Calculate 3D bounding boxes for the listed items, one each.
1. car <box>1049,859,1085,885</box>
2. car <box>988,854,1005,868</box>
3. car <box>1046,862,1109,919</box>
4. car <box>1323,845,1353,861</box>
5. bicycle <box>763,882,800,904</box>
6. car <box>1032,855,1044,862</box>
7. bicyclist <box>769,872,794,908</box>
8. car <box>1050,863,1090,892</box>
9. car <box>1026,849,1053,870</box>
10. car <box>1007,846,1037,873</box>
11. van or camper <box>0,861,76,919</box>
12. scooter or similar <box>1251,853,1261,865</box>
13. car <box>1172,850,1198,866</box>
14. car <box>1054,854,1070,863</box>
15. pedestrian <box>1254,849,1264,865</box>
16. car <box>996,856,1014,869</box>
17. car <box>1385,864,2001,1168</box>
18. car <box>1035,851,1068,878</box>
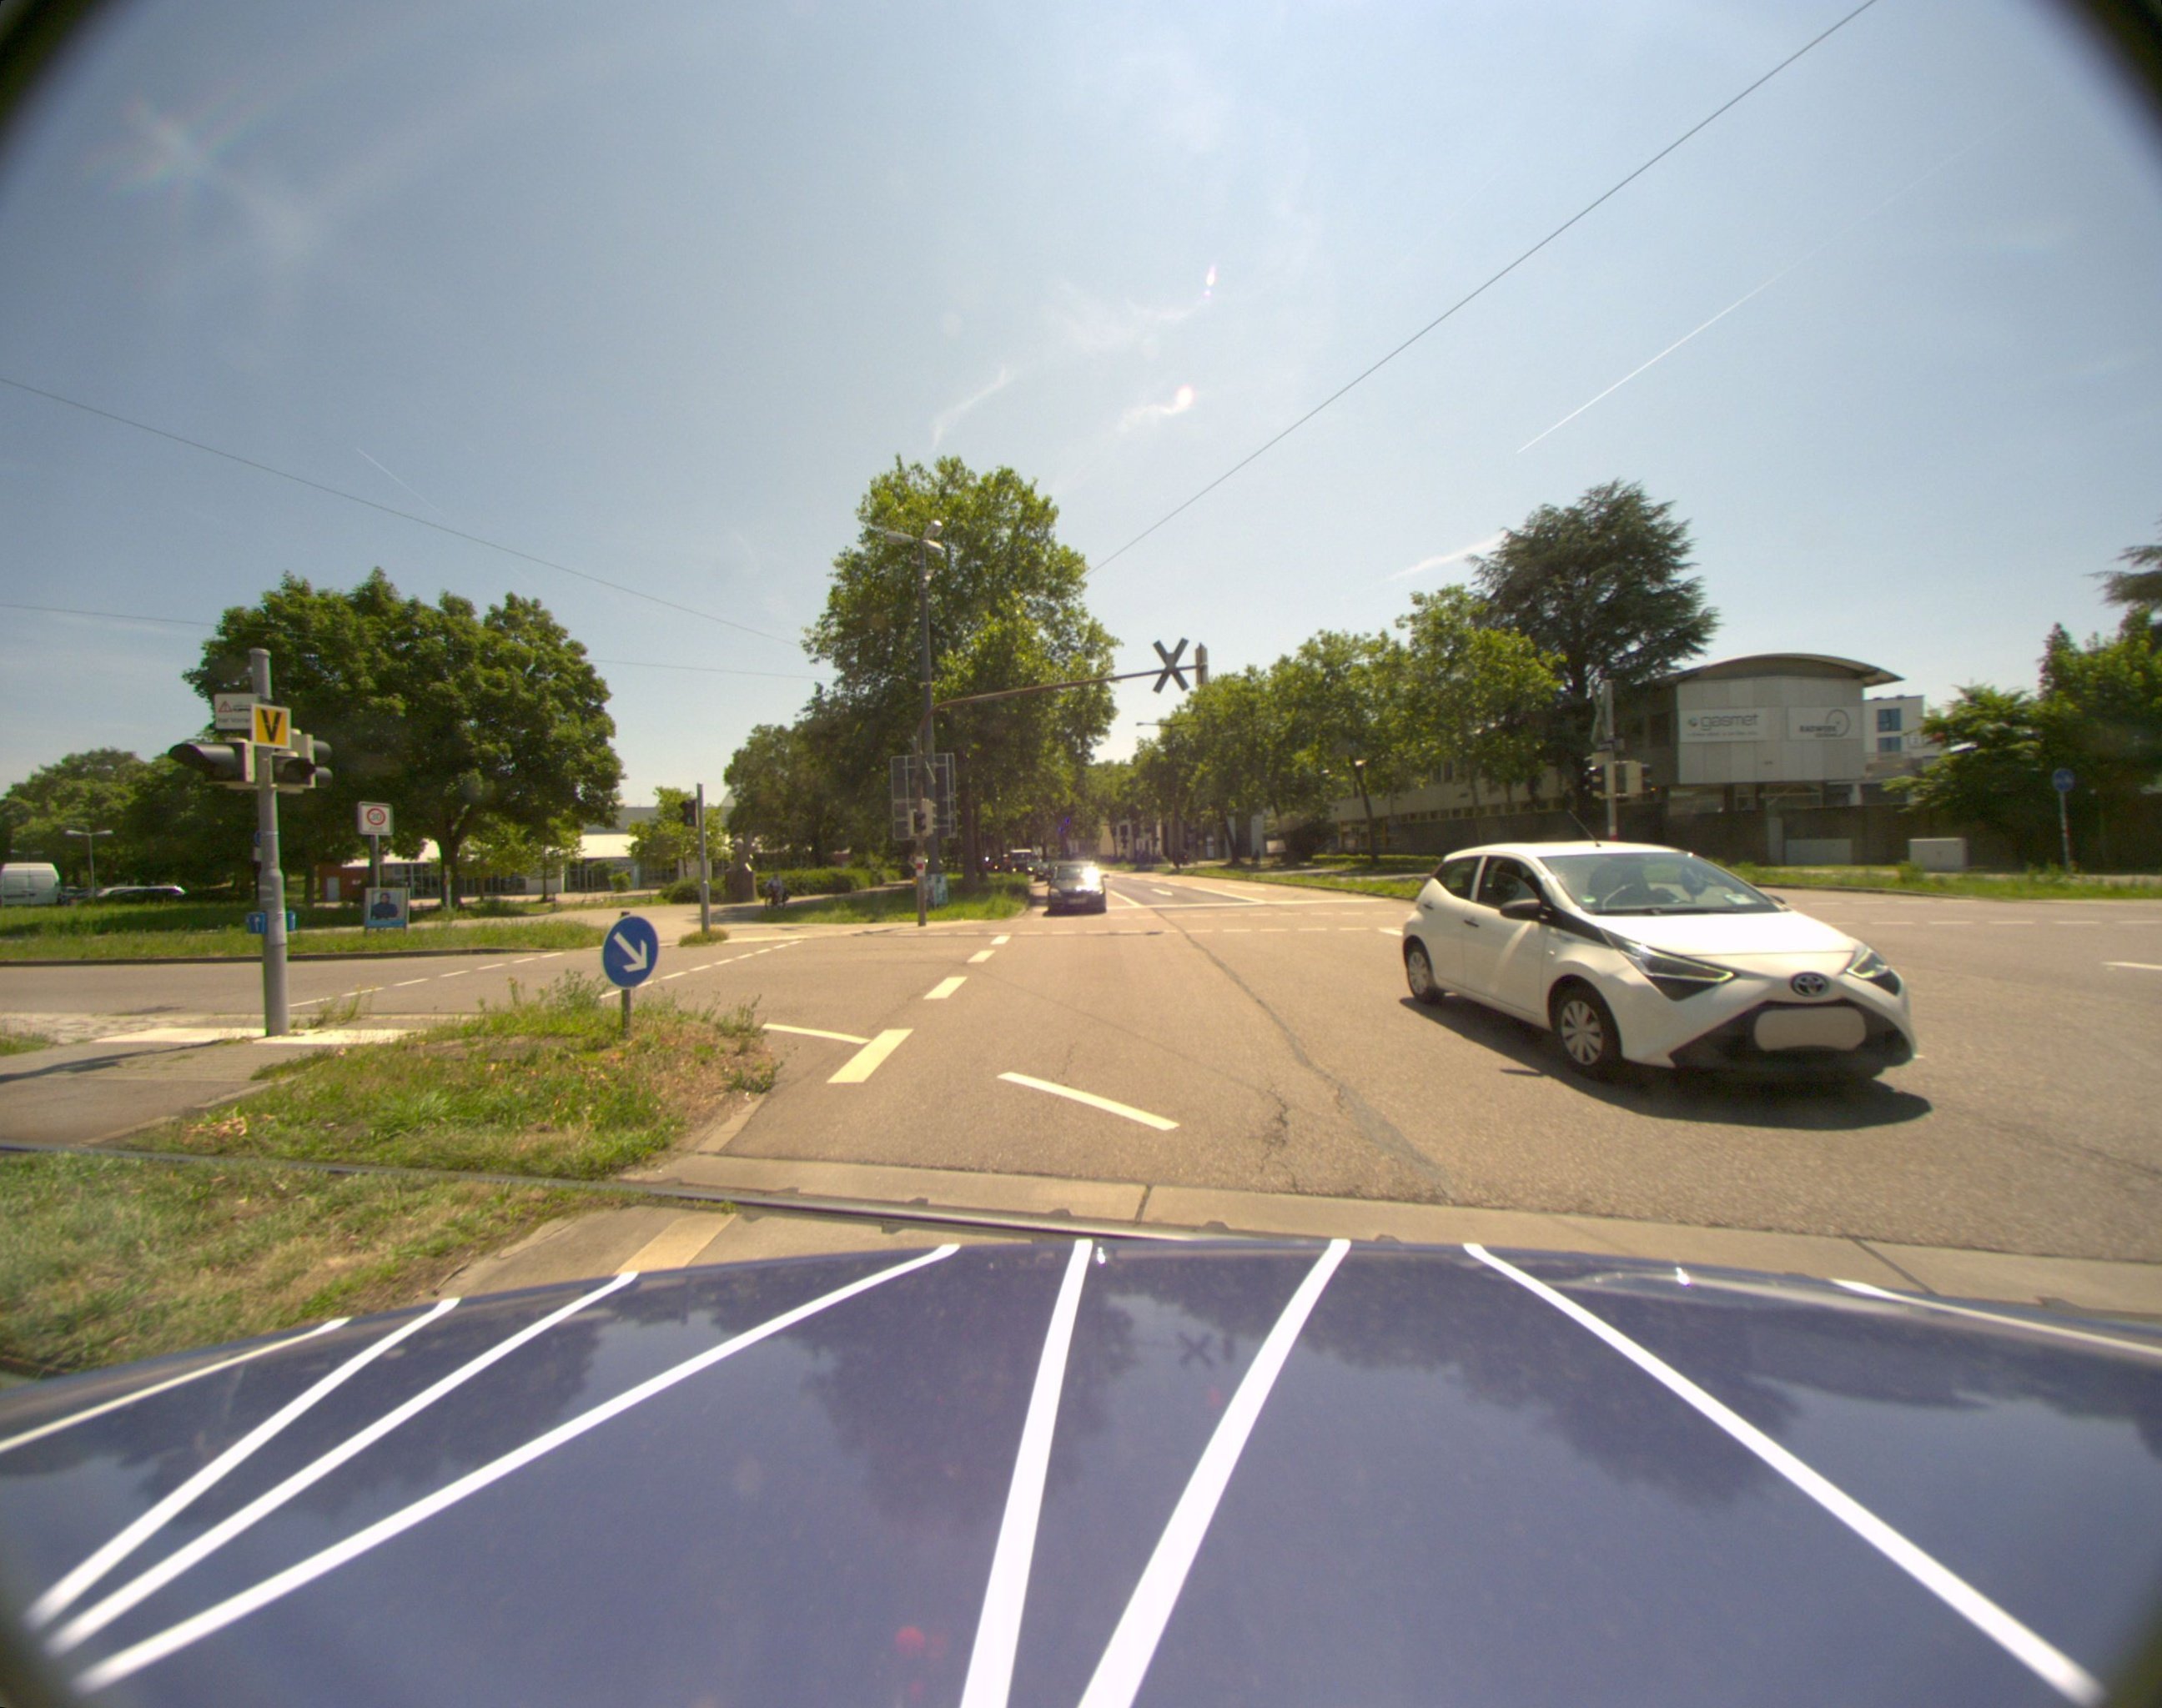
[{"bbox_3d":[-0.892,1.057,46.745,1.879,1.448,3.784,-2,0,-5],"label":"car"},{"bbox_3d":[-12.227,1.002,109.799,2.001,1.827,3.995,-2,0,-13],"label":"car"},{"bbox_3d":[-0.104,1.011,22.525,1.654,1.453,3.864,-2,0,0],"label":"car"},{"bbox_3d":[27.952,-0.092,82.742,1.820,1.638,3.526,-4,1,-2],"label":"car"},{"bbox_3d":[-11.547,1.504,29.339,0.464,0.760,1.669,-2,0,11],"label":"bicycle"},{"bbox_3d":[-8.779,0.890,153.444,1.738,1.450,3.669,-2,0,-13],"label":"car"},{"bbox_3d":[-11.562,1.386,29.314,0.600,1.331,0.666,-2,1,10],"label":"bicyclist"},{"bbox_3d":[-0.511,1.151,38.536,1.791,1.325,3.743,-2,0,2],"label":"car"},{"bbox_3d":[-3.630,0.454,66.475,2.000,1.783,3.997,-2,1,-7],"label":"car"},{"bbox_3d":[-6.455,0.561,82.042,2.919,2.639,6.362,-2,0,-7],"label":"car"},{"bbox_3d":[-53.195,1.788,38.673,5.115,2.735,2.207,-2,1,35],"label":"van or camper"},{"bbox_3d":[17.283,0.492,75.176,0.680,1.157,0.858,-2,1,-11],"label":"scooter or similar"},{"bbox_3d":[12.069,0.417,87.785,1.913,1.669,4.450,-2,0,22],"label":"car"},{"bbox_3d":[-3.404,0.826,135.559,1.860,1.410,4.542,-2,0,-13],"label":"car"},{"bbox_3d":[17.450,0.287,74.353,0.644,1.551,0.790,-2,1,-12],"label":"pedestrian"},{"bbox_3d":[-9.873,1.097,98.795,2.000,1.608,3.997,-2,0,-9],"label":"car"},{"bbox_3d":[3.822,0.840,5.658,1.623,1.437,3.651,-2,0,0],"label":"car"},{"bbox_3d":[-2.248,0.746,56.730,2.000,1.871,3.997,-2,0,-7],"label":"car"}]
